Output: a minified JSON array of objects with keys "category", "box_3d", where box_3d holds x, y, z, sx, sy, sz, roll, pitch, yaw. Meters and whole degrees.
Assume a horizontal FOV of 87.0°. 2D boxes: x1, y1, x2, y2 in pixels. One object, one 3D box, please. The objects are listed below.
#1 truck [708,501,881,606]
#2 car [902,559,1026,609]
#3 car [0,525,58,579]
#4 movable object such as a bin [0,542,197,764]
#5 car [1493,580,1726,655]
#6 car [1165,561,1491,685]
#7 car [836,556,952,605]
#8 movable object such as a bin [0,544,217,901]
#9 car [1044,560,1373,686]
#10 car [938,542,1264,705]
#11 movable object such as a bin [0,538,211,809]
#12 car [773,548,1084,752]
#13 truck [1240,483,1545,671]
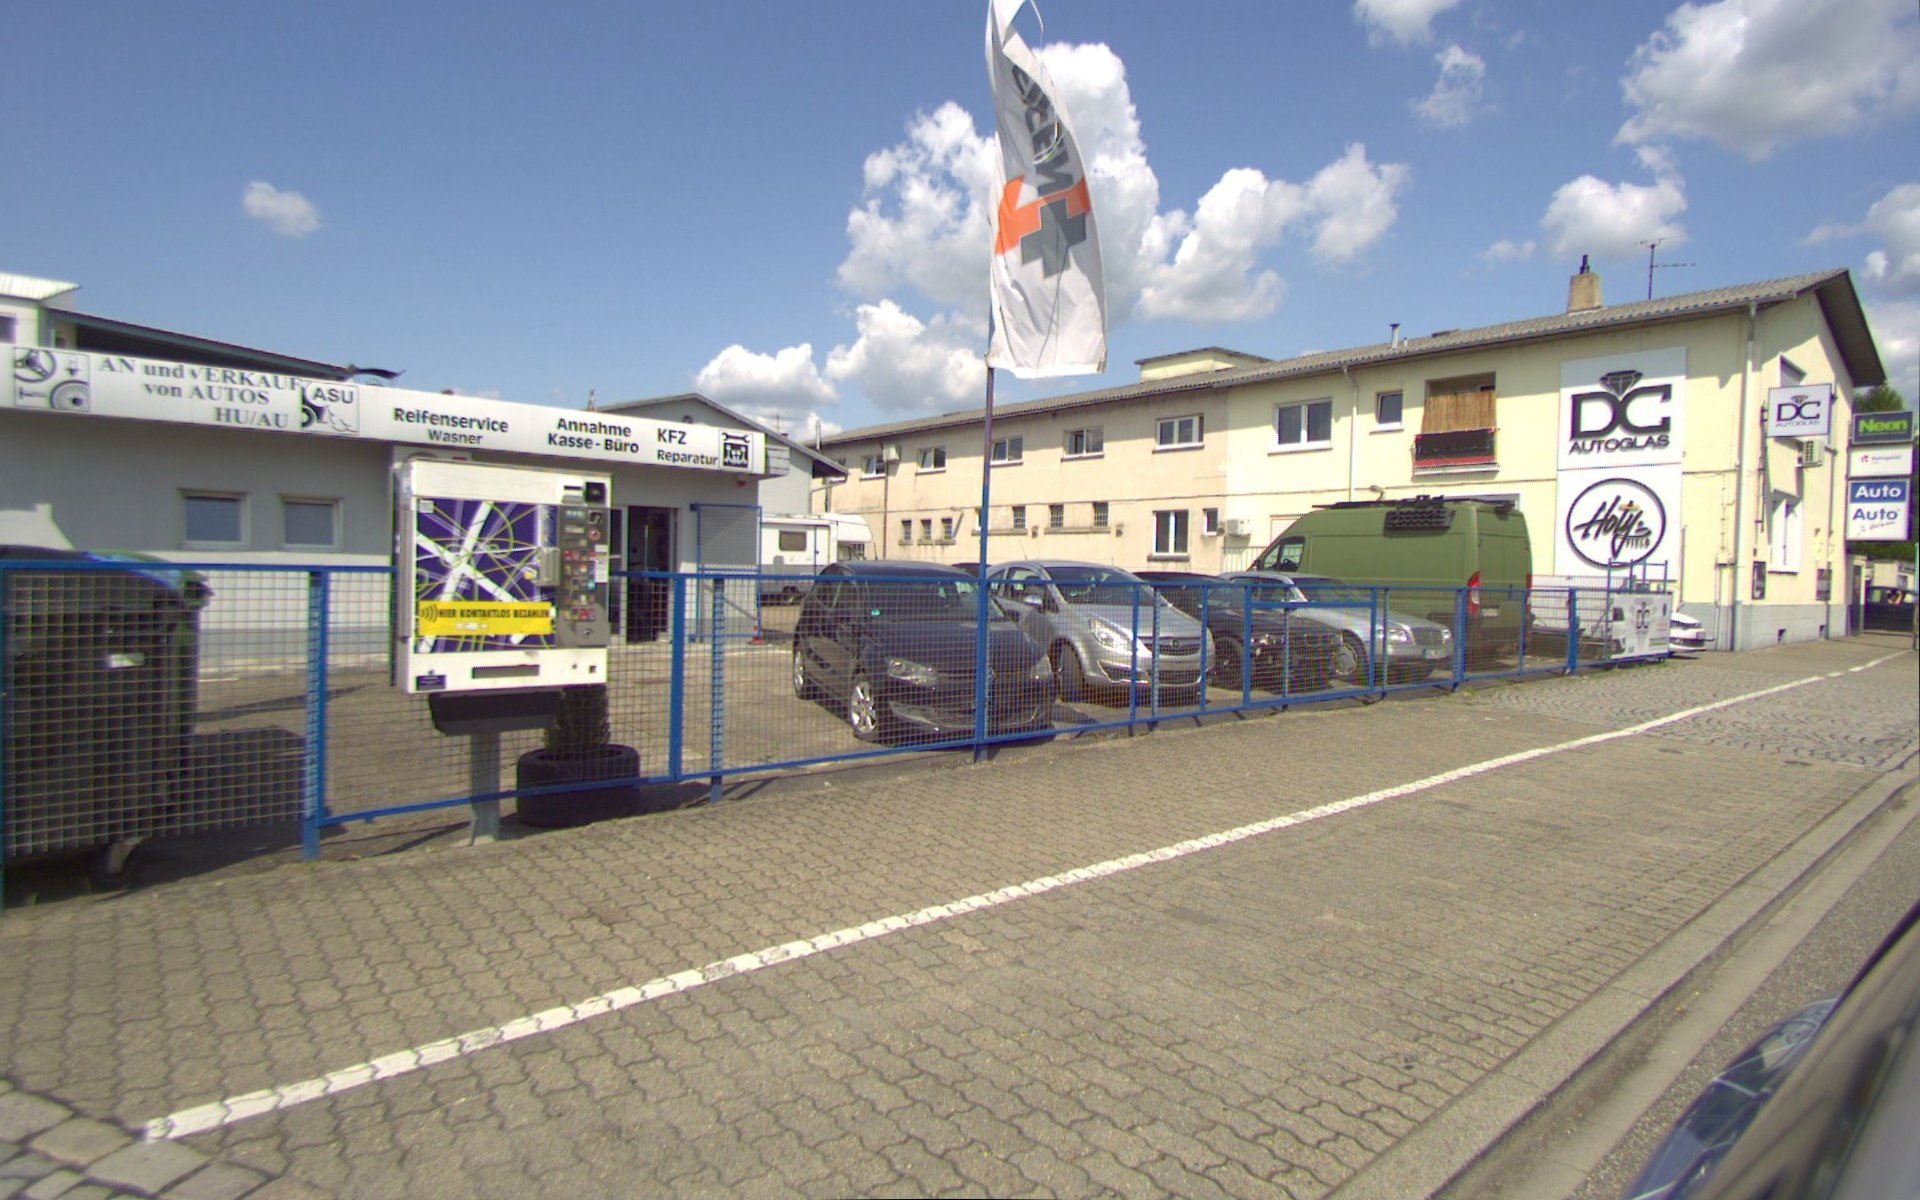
[{"category":"truck","box_3d":[-5.195,-1.472,32.084,4.999,3.045,2.158,-1,4,-41]},{"category":"car","box_3d":[0.128,-0.451,27.752,3.218,1.277,1.452,-1,1,-40]},{"category":"car","box_3d":[-37.816,-1.828,38.685,4.867,2.039,1.967,-2,1,-45]},{"category":"movable object such as a bin","box_3d":[-6.559,0.337,7.176,1.735,1.428,1.534,-1,1,-41]},{"category":"car","box_3d":[13.122,0.314,20.643,1.490,1.375,3.728,-1,1,-36]},{"category":"car","box_3d":[5.147,0.258,14.751,1.792,1.526,4.266,-1,1,-32]},{"category":"car","box_3d":[-1.945,-0.583,30.287,3.268,1.396,1.425,-1,1,-40]},{"category":"movable object such as a bin","box_3d":[-4.438,0.471,4.504,1.679,1.364,1.966,-1,1,-41]},{"category":"car","box_3d":[3.104,0.204,13.499,1.707,1.391,4.266,-1,1,-33]},{"category":"car","box_3d":[1.386,0.185,11.792,1.789,1.524,4.271,-1,1,-23]},{"category":"movable object such as a bin","box_3d":[-5.542,0.384,5.936,1.735,1.428,1.534,-1,1,-41]},{"category":"car","box_3d":[-0.527,0.264,9.512,1.592,1.480,3.919,-1,3,-23]},{"category":"truck","box_3d":[7.040,-0.359,16.826,2.071,2.694,4.181,-1,1,-38]}]
